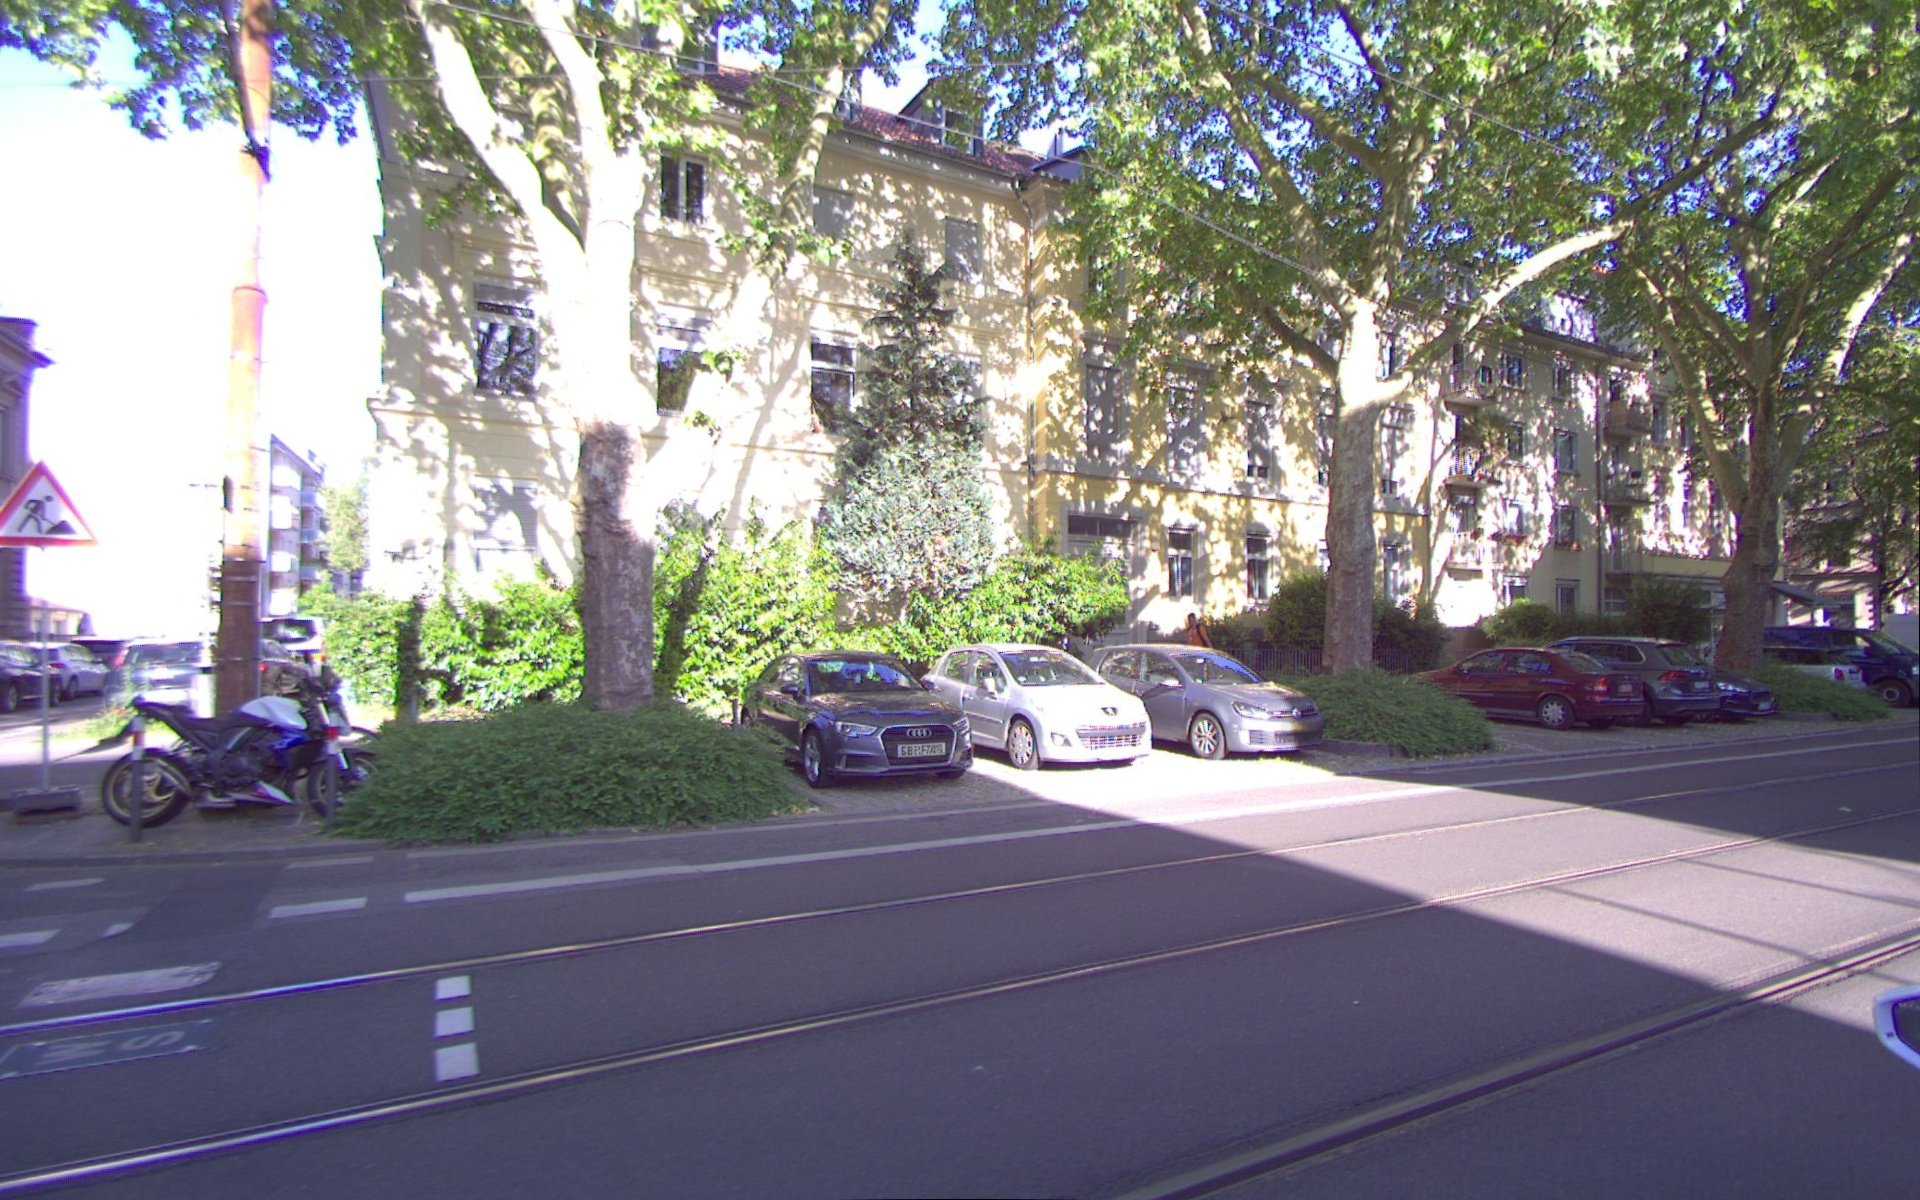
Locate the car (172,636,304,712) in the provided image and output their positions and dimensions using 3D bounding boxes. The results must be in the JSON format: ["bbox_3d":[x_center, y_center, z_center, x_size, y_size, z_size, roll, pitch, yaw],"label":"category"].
[{"bbox_3d":[-15.565,1.559,21.845,1.672,1.437,3.907,-1,-2,-26],"label":"car"}]

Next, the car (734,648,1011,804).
[{"bbox_3d":[-1.200,1.307,11.788,1.825,1.350,3.903,2,-1,-29],"label":"car"}]

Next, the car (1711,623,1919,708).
[{"bbox_3d":[22.630,1.623,26.056,1.955,1.949,4.656,1,-1,-28],"label":"car"}]

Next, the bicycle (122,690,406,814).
[{"bbox_3d":[-6.150,1.324,9.010,2.004,0.953,0.540,1,-1,-23],"label":"bicycle"}]

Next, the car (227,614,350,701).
[{"bbox_3d":[-17.671,1.488,26.647,1.988,2.028,4.394,-2,-1,-25],"label":"car"}]

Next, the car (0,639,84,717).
[{"bbox_3d":[-21.502,1.672,22.328,1.821,1.510,3.912,1,-1,-22],"label":"car"}]

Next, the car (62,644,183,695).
[{"bbox_3d":[-25.667,2.092,30.934,1.677,1.350,3.912,1,-1,-22],"label":"car"}]

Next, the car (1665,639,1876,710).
[{"bbox_3d":[19.960,1.784,24.902,1.726,1.518,3.717,2,-1,-29],"label":"car"}]

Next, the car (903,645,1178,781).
[{"bbox_3d":[0.897,1.352,13.327,1.779,1.472,3.904,1,-2,-30],"label":"car"}]

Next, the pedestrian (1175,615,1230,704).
[{"bbox_3d":[5.303,1.285,21.982,0.830,1.874,0.859,1,-2,-37],"label":"pedestrian"}]

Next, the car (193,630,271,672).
[{"bbox_3d":[-31.194,2.155,43.151,1.821,1.659,3.911,1,-1,-23],"label":"car"}]

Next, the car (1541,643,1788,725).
[{"bbox_3d":[14.729,1.685,21.212,1.798,1.440,3.900,2,-1,-31],"label":"car"}]

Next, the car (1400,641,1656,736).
[{"bbox_3d":[10.600,1.580,19.036,1.728,1.461,3.903,2,-1,-29],"label":"car"}]

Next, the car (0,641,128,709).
[{"bbox_3d":[-24.046,1.931,26.798,1.686,1.570,3.912,1,-1,-22],"label":"car"}]

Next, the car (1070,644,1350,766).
[{"bbox_3d":[3.442,1.394,14.561,1.784,1.481,3.903,1,-3,-29],"label":"car"}]

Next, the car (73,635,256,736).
[{"bbox_3d":[-13.504,1.393,17.288,1.672,1.437,3.764,-2,-2,-27],"label":"car"}]

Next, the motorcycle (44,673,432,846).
[{"bbox_3d":[-5.622,1.202,8.053,2.356,1.162,0.883,1,-2,-23],"label":"motorcycle"}]

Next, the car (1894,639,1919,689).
[{"bbox_3d":[30.963,1.986,30.192,1.656,1.518,3.904,1,-1,-28],"label":"car"}]

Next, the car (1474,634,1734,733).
[{"bbox_3d":[12.641,1.558,19.969,1.857,1.648,3.976,2,-1,-29],"label":"car"}]

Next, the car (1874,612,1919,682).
[{"bbox_3d":[35.428,1.653,33.739,2.428,2.441,6.599,1,-1,-29],"label":"car"}]

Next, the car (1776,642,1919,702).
[{"bbox_3d":[24.900,1.940,27.461,1.618,1.449,3.717,2,-1,-29],"label":"car"}]
